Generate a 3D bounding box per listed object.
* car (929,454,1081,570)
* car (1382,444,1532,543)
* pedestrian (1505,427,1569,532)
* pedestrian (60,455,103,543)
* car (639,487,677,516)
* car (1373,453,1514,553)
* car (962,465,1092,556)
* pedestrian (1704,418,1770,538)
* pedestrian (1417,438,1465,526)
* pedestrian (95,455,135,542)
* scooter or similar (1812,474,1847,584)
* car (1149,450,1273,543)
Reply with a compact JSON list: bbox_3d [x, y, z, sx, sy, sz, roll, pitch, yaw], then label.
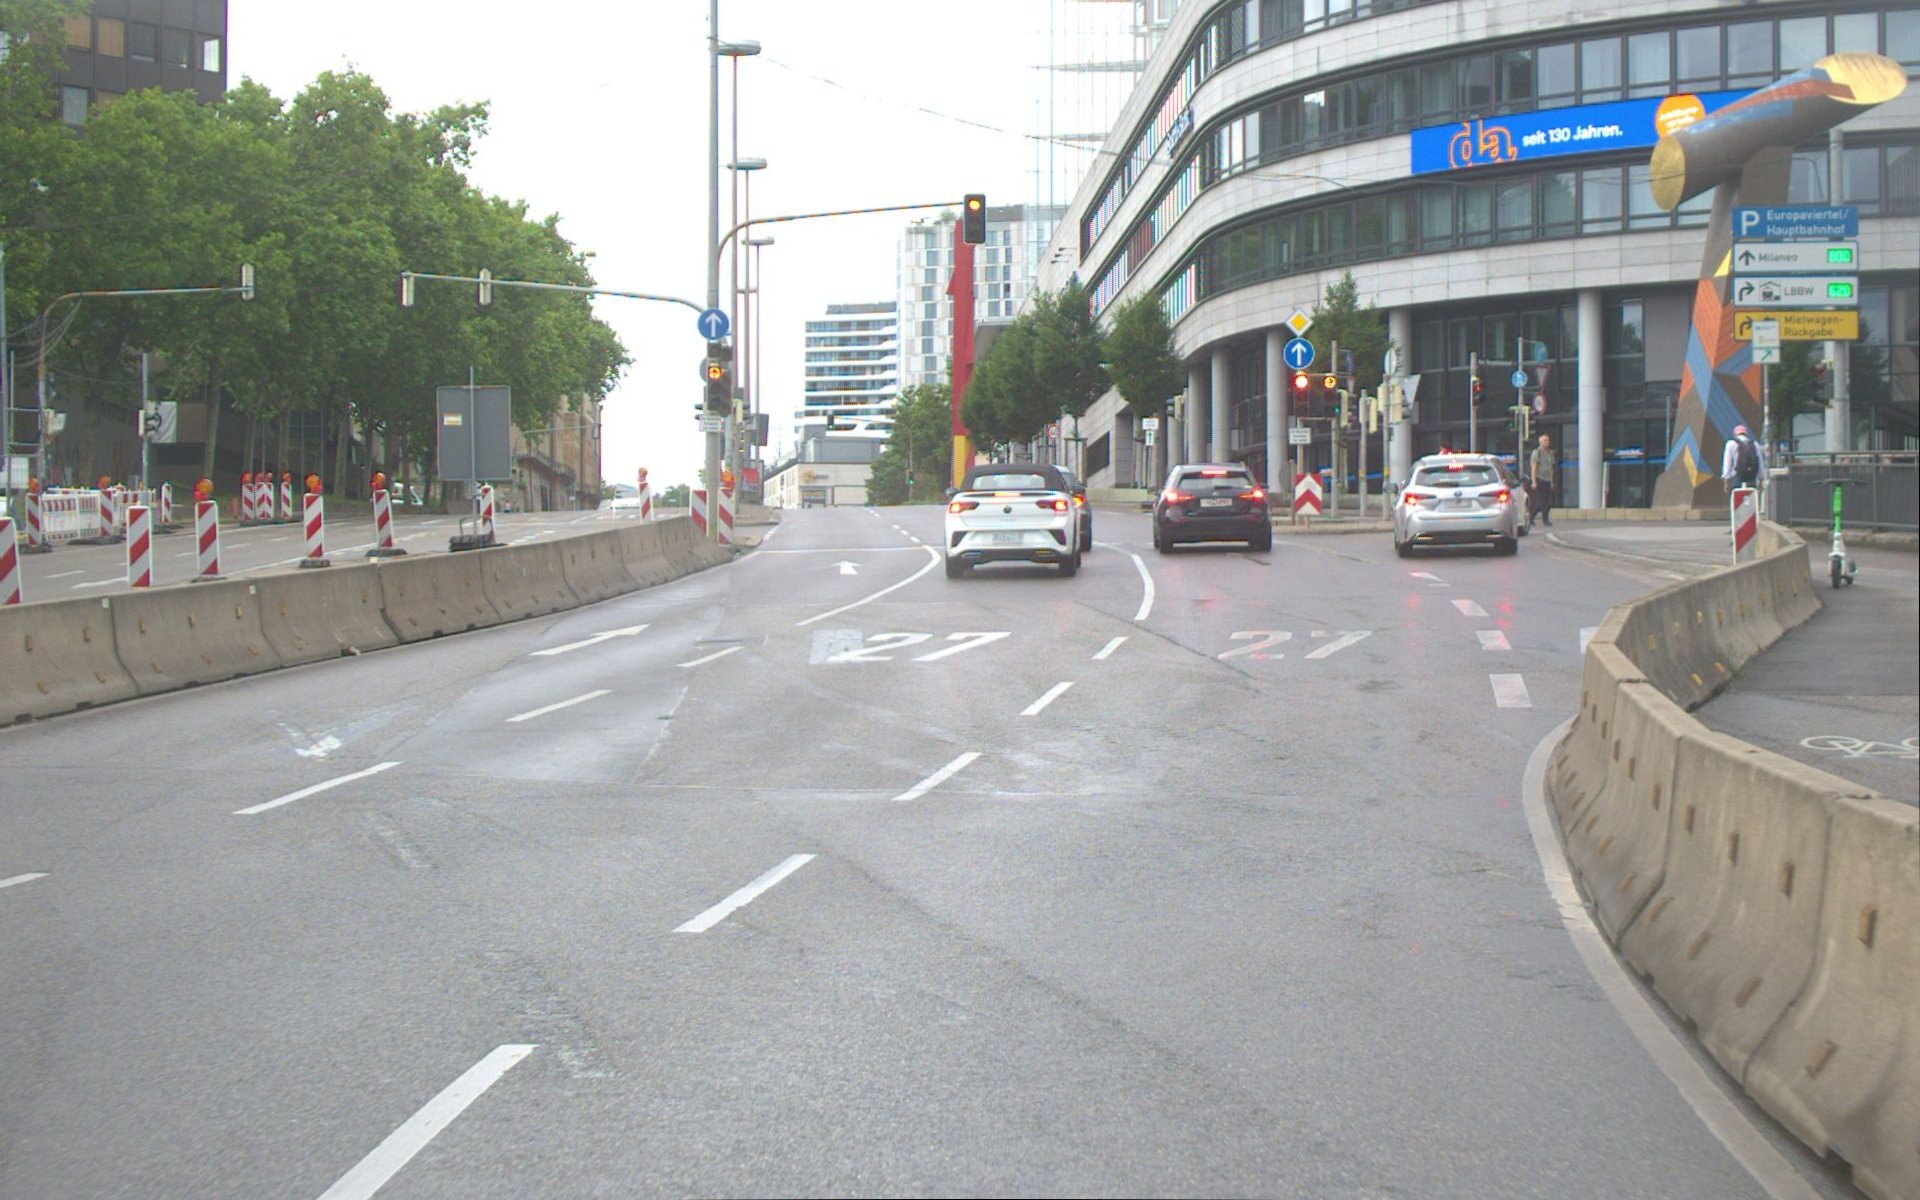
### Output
[{"bbox_3d":[0.679,-1.265,48.023,1.964,1.543,4.219,0,2,3],"label":"car"},{"bbox_3d":[8.568,-1.854,59.024,1.773,1.628,4.577,0,3,18],"label":"car"},{"bbox_3d":[11.711,-2.452,69.827,0.852,2.091,0.905,1,2,-25],"label":"pedestrian"},{"bbox_3d":[-19.306,-2.221,75.572,0.761,1.916,0.742,0,0,1],"label":"pedestrian"},{"bbox_3d":[-15.880,-5.184,180.640,1.761,1.455,4.361,-2,3,-3],"label":"car"},{"bbox_3d":[7.296,-1.461,52.187,1.701,1.446,4.616,0,1,3],"label":"car"},{"bbox_3d":[1.065,-1.492,56.584,1.739,1.438,4.001,0,2,-5],"label":"car"},{"bbox_3d":[11.255,-1.763,49.831,0.729,1.705,0.843,0,0,-2],"label":"pedestrian"},{"bbox_3d":[10.616,-2.595,75.807,0.841,1.898,0.860,0,0,24],"label":"pedestrian"},{"bbox_3d":[-18.564,-2.219,75.561,0.672,1.895,0.775,0,0,1],"label":"pedestrian"},{"bbox_3d":[9.186,-0.748,36.322,0.349,1.158,0.572,0,1,13],"label":"scooter or similar"},{"bbox_3d":[4.004,-1.648,55.389,1.755,1.402,4.228,1,1,1],"label":"car"}]
